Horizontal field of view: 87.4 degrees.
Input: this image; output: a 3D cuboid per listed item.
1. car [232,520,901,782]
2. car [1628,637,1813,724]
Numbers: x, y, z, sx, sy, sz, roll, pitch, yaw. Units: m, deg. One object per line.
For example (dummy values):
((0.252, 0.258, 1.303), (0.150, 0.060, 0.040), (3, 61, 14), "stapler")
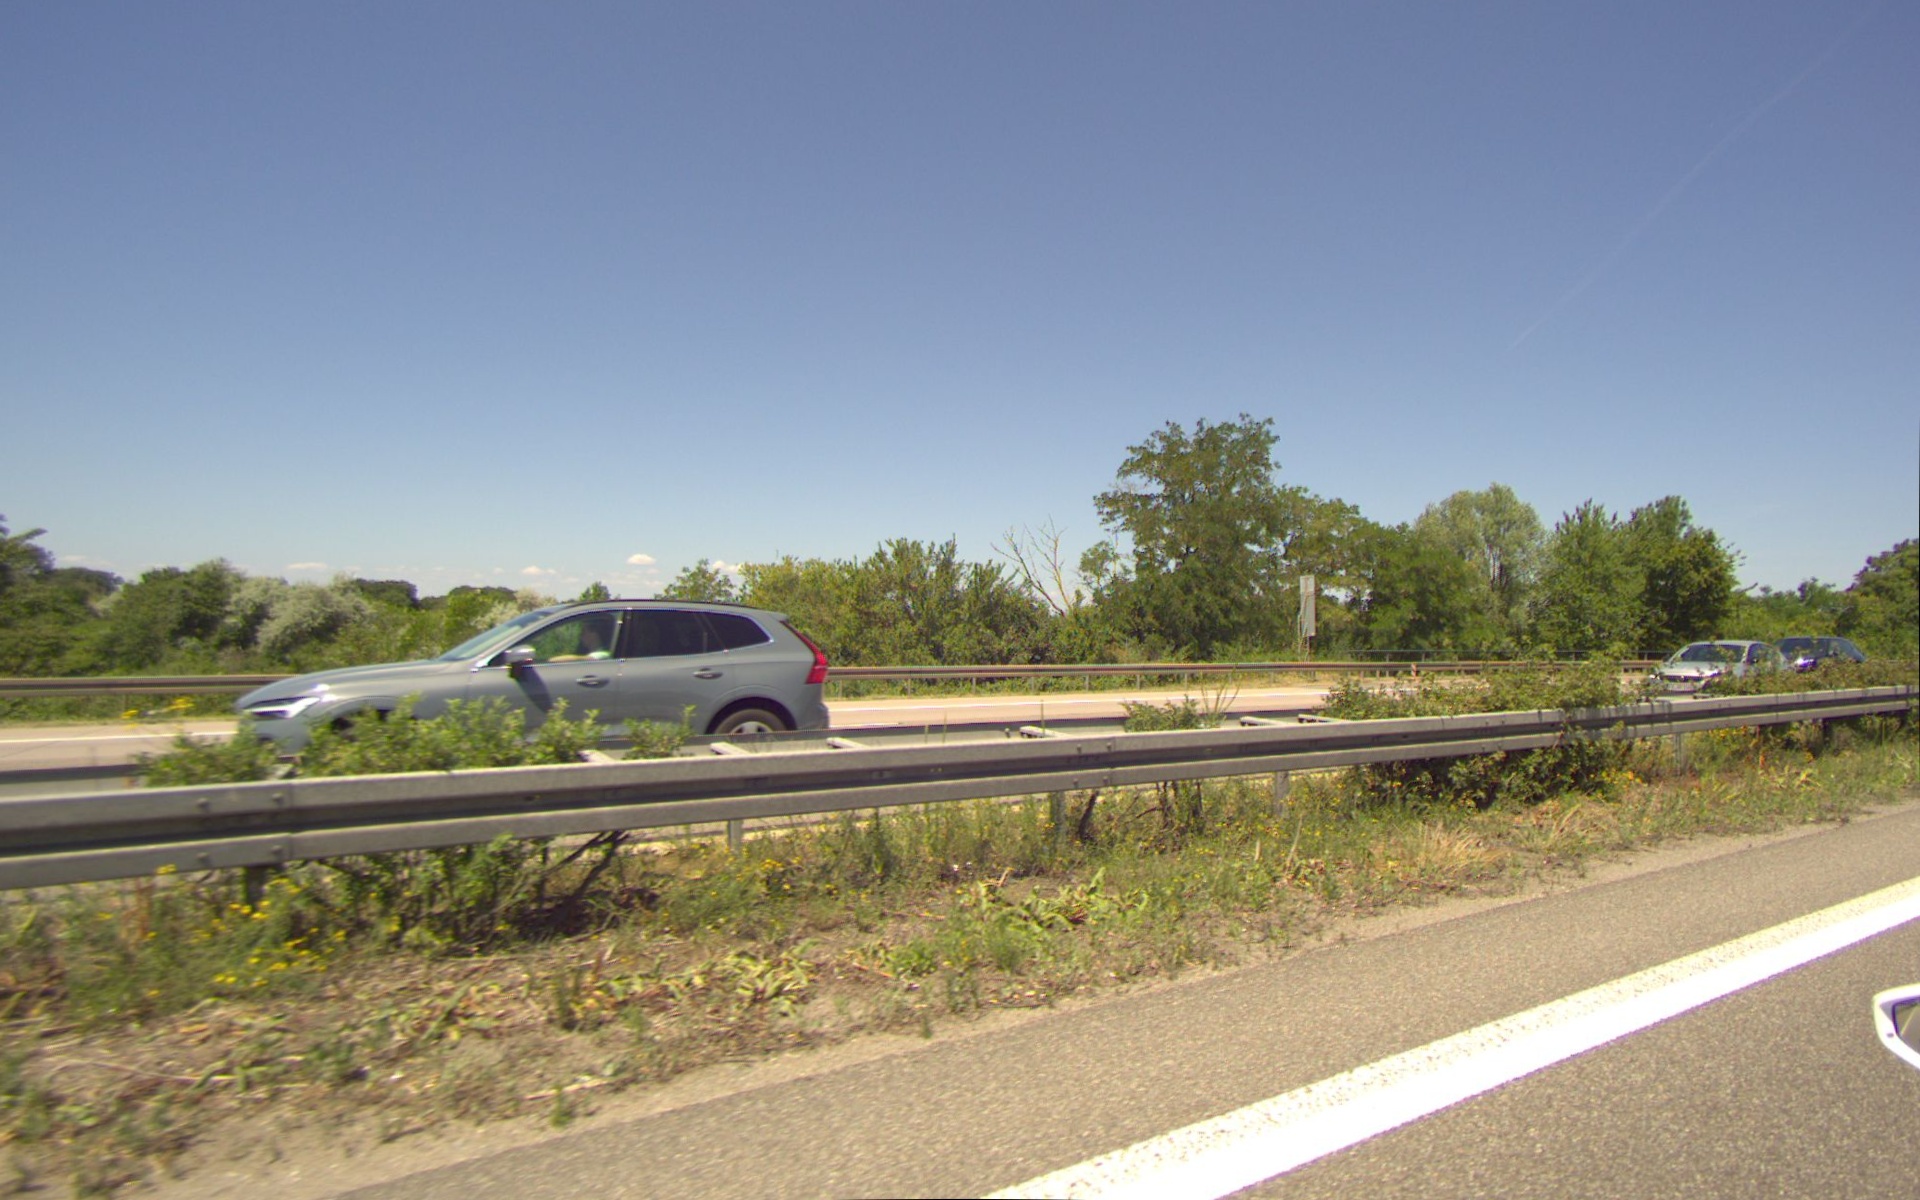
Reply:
((-3.206, 0.418, 8.894), (5.050, 1.753, 1.983), (2, -2, -32), "car")
((16.996, 1.715, 22.433), (4.047, 1.753, 1.983), (2, -2, -32), "car")
